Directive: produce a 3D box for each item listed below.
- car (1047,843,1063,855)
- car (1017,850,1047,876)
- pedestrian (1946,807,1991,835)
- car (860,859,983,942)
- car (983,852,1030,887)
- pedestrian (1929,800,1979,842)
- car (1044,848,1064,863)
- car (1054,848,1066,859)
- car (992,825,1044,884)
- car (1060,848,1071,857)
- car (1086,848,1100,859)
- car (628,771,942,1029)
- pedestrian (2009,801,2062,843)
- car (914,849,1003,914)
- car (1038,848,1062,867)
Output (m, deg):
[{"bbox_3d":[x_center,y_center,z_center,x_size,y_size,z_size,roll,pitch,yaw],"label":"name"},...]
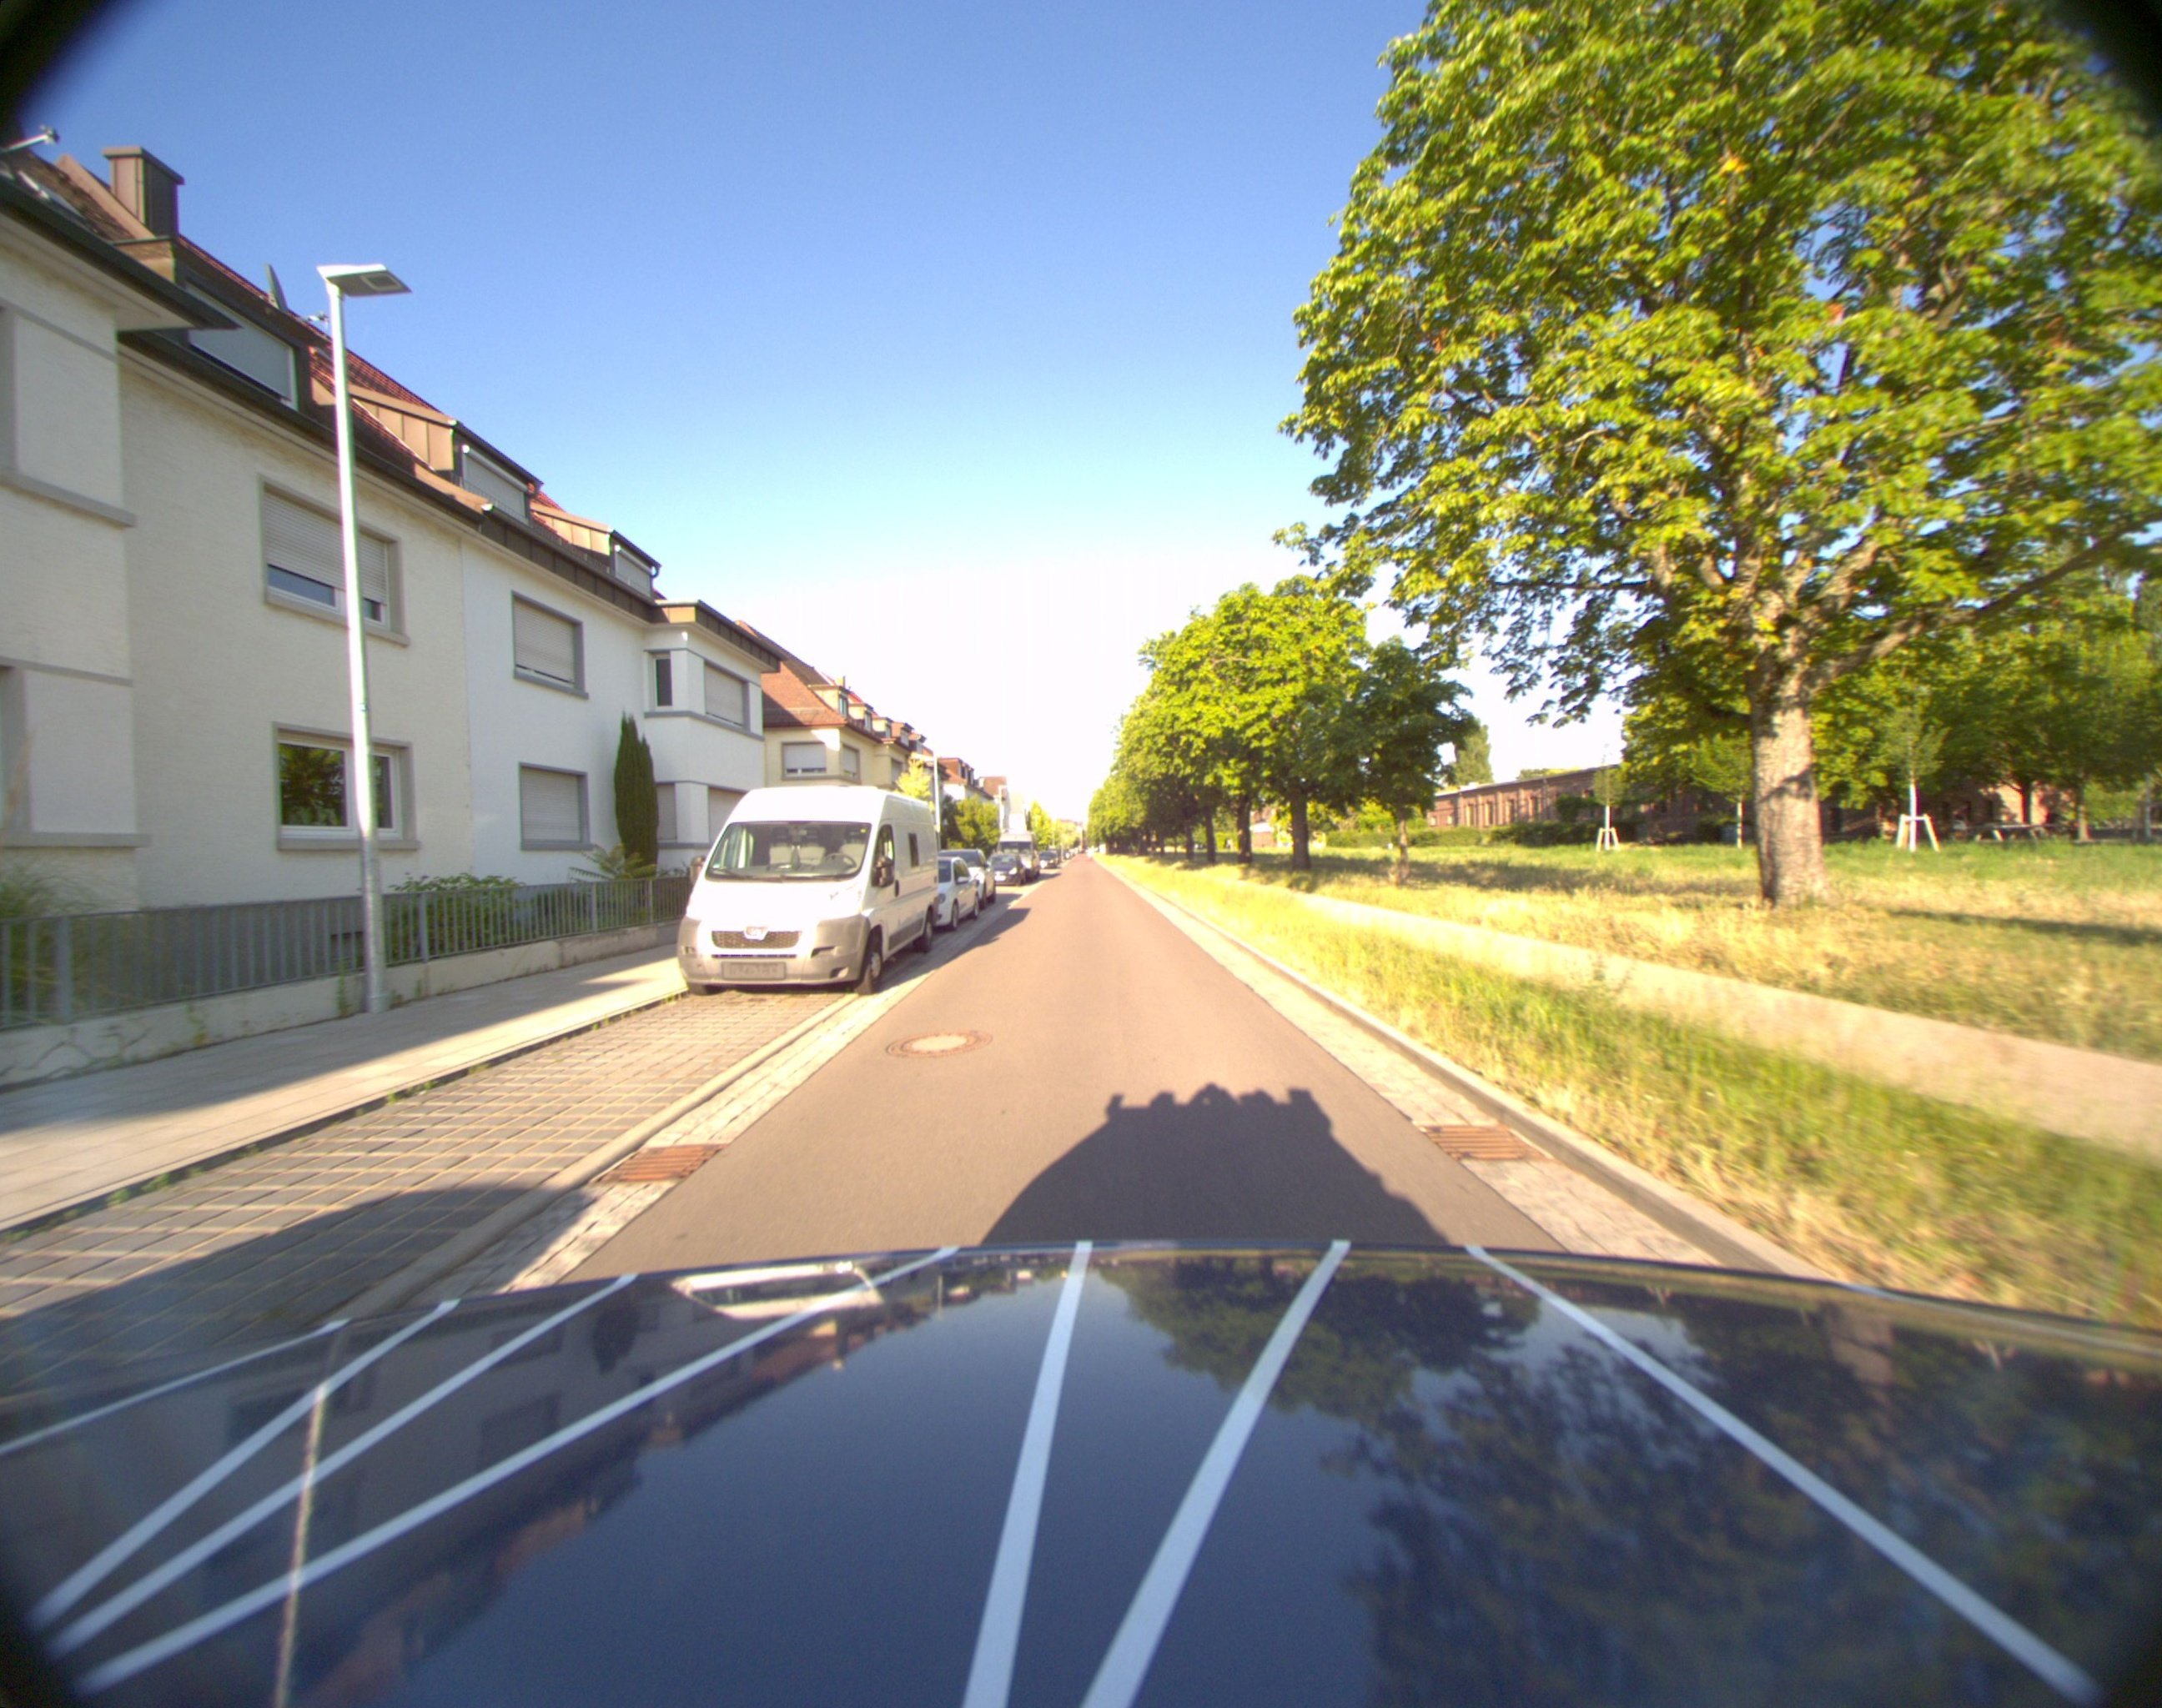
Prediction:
[{"bbox_3d":[-3.641,-0.721,107.334,1.974,1.630,3.999,-3,1,1],"label":"car"},{"bbox_3d":[-2.978,0.525,46.796,1.467,1.490,3.356,-1,0,2],"label":"car"},{"bbox_3d":[43.785,-1.639,37.507,1.116,1.287,0.982,-3,1,-8],"label":"pedestrian"},{"bbox_3d":[-3.224,0.874,16.180,1.626,1.474,4.108,-1,0,2],"label":"car"},{"bbox_3d":[-3.341,0.657,34.523,1.629,1.431,4.004,0,0,2],"label":"car"},{"bbox_3d":[39.857,-1.482,34.702,1.115,1.853,0.984,-2,1,7],"label":"pedestrian"},{"bbox_3d":[-2.987,0.139,84.961,1.974,1.630,4.000,-3,0,1],"label":"car"},{"bbox_3d":[-3.539,-0.089,128.543,1.974,1.630,3.999,-2,1,1],"label":"car"},{"bbox_3d":[-3.264,-0.019,40.684,2.134,2.837,5.986,-3,1,1],"label":"car"},{"bbox_3d":[-2.878,-0.248,144.363,1.974,1.630,3.999,-2,1,1],"label":"car"},{"bbox_3d":[1.871,-0.122,119.054,1.974,1.630,3.999,-3,1,1],"label":"car"},{"bbox_3d":[-3.391,0.429,10.196,2.135,2.503,5.507,-1,1,-1],"label":"car"},{"bbox_3d":[43.509,-1.444,34.651,1.115,1.852,0.984,-2,1,7],"label":"pedestrian"},{"bbox_3d":[-3.355,0.683,21.623,1.782,1.635,4.480,-1,0,0],"label":"car"},{"bbox_3d":[-2.719,0.302,67.242,1.974,1.630,4.000,0,0,1],"label":"car"}]
